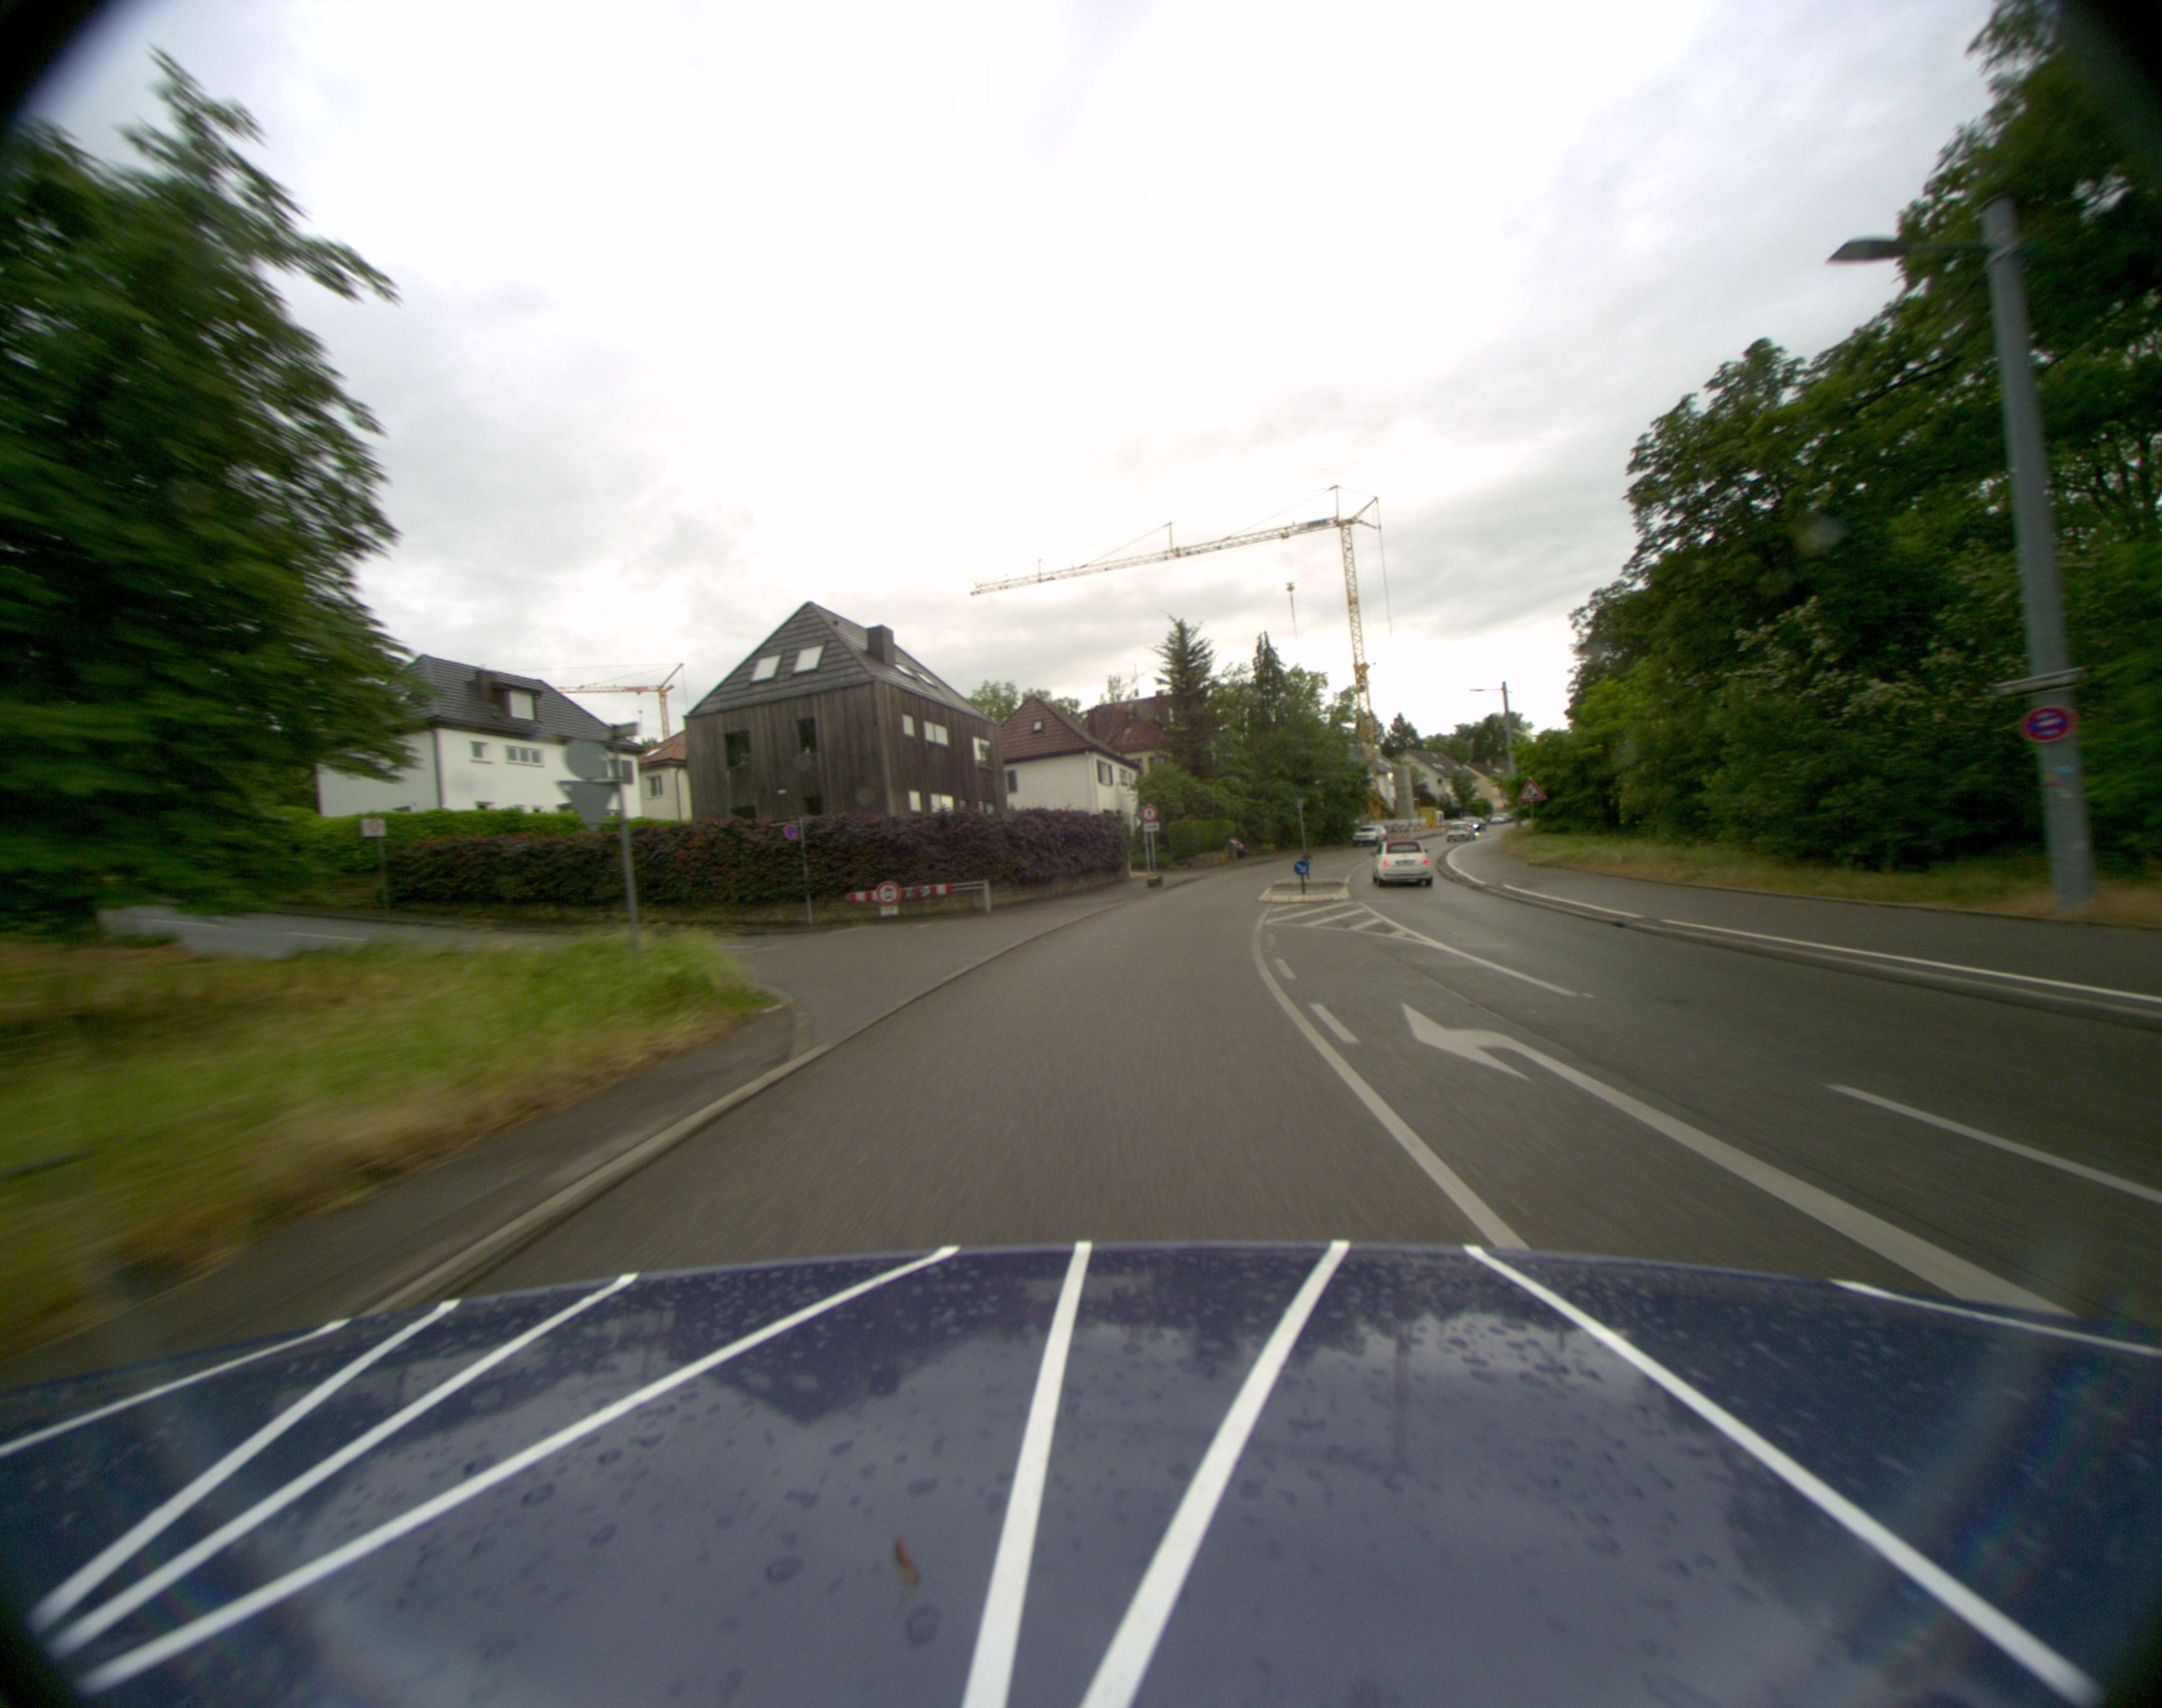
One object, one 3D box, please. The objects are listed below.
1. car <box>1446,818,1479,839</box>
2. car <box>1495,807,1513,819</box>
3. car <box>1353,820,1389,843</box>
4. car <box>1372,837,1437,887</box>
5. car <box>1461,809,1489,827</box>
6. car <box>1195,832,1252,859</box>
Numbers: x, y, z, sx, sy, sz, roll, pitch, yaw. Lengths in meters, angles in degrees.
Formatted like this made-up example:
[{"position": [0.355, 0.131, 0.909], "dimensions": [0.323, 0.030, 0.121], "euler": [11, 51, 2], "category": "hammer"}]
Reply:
[{"position": [29.890, -2.031, 59.489], "dimensions": [1.633, 1.446, 3.808], "euler": [-3, 2, 37], "category": "car"}, {"position": [59.451, -5.778, 106.746], "dimensions": [1.733, 1.482, 4.006], "euler": [-1, 3, 37], "category": "car"}, {"position": [23.578, -1.846, 61.640], "dimensions": [1.828, 1.587, 4.006], "euler": [-1, 3, 34], "category": "car"}, {"position": [10.619, 0.206, 25.127], "dimensions": [1.568, 1.469, 3.671], "euler": [-2, 1, 17], "category": "car"}, {"position": [40.976, -3.674, 78.965], "dimensions": [1.995, 1.707, 4.007], "euler": [-2, 1, 35], "category": "car"}, {"position": [9.837, -0.563, 52.647], "dimensions": [3.481, 1.404, 1.429], "euler": [-7, 0, 27], "category": "car"}]
